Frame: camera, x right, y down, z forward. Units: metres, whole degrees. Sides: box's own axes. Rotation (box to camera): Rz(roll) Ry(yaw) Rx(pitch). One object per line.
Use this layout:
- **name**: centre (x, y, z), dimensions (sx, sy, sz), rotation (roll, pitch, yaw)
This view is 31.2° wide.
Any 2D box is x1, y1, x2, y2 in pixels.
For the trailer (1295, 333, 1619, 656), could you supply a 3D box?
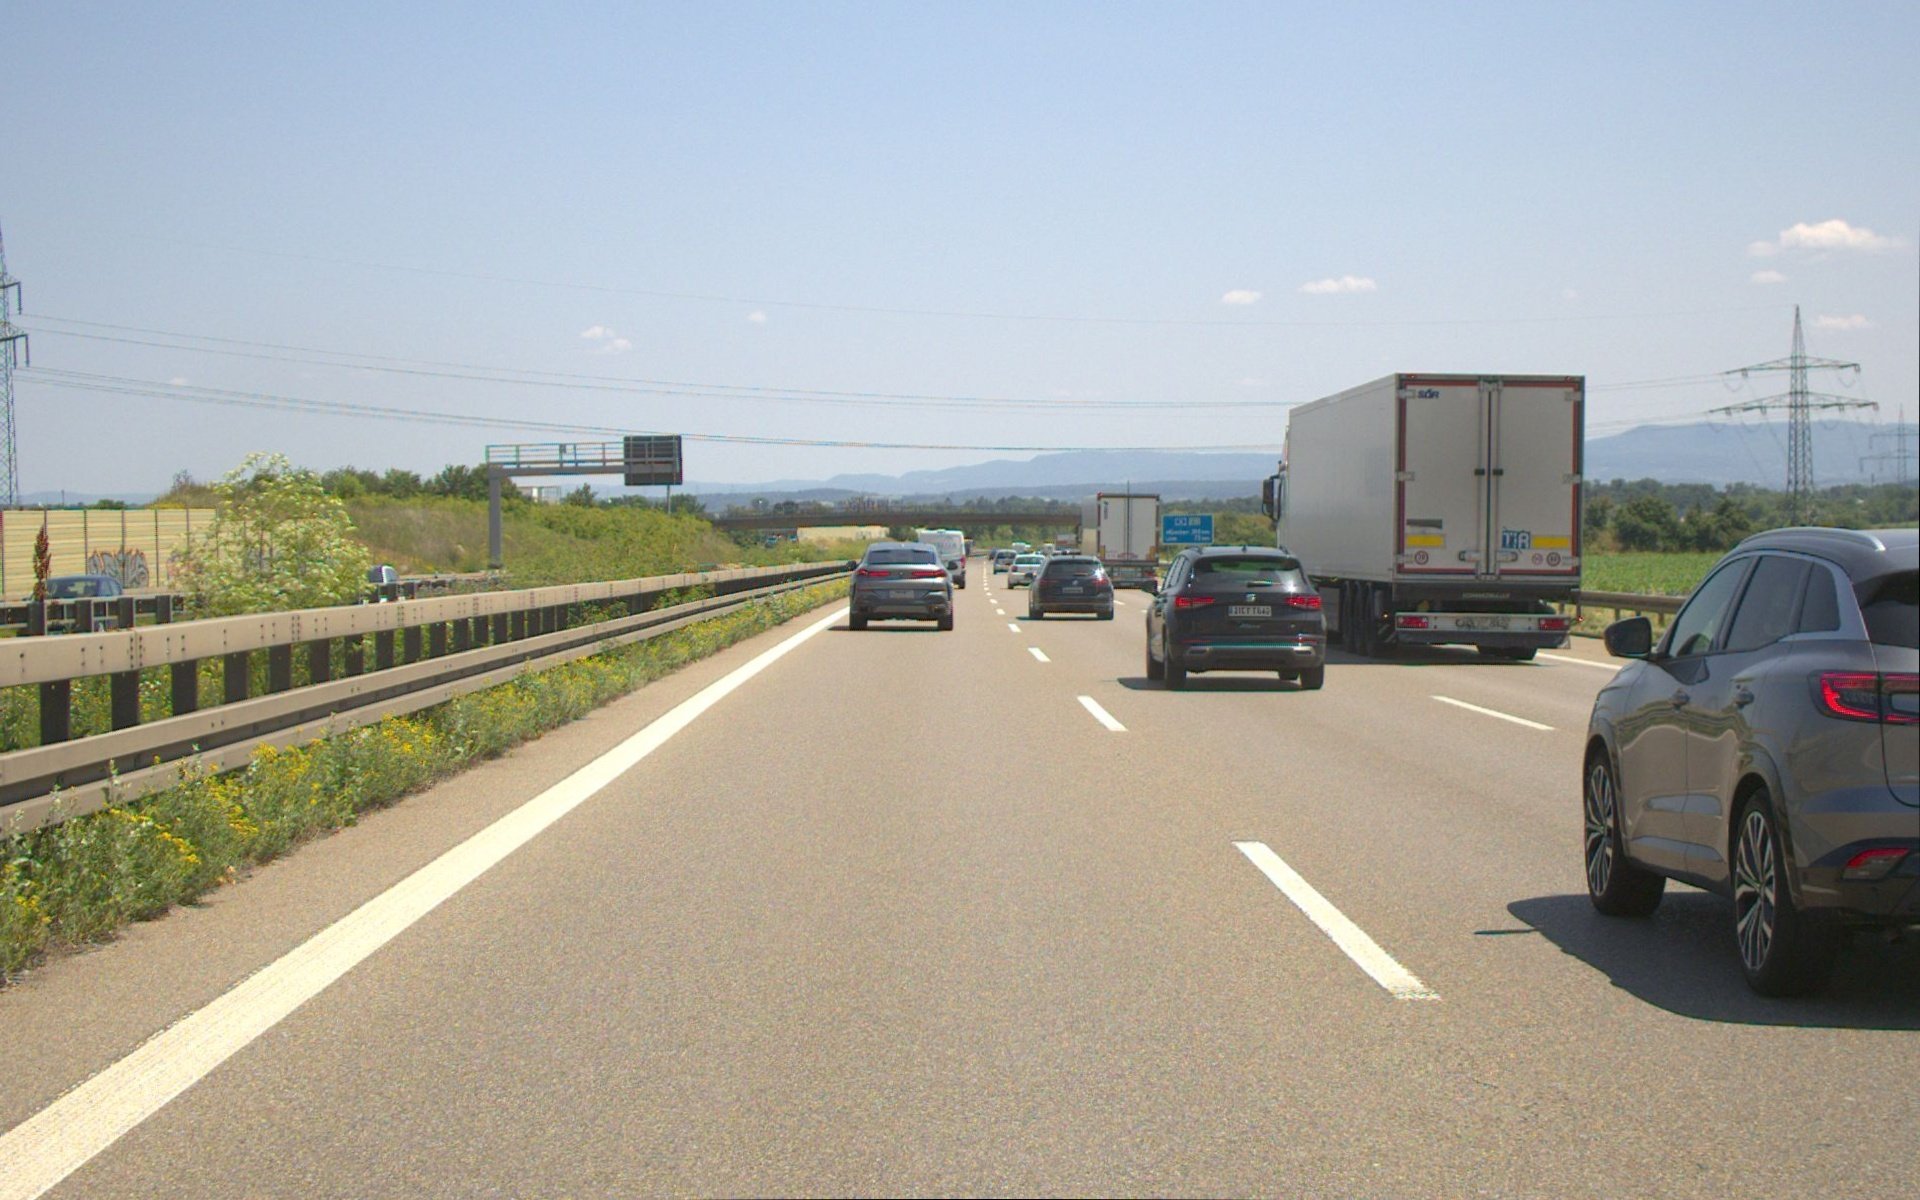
- **trailer**: centre (7.185, -1.463, 51.880), dimensions (2.868, 4.205, 13.295), rotation (1, 1, 0)

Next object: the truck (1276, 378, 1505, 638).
- **truck**: centre (7.148, -1.497, 57.971), dimensions (2.862, 4.077, 6.880), rotation (1, 1, -1)

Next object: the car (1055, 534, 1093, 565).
- **car**: centre (6.259, -2.767, 189.511), dimensions (1.993, 1.677, 4.000), rotation (1, 1, 1)

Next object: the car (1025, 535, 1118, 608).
- **car**: centre (2.494, -0.652, 77.930), dimensions (1.933, 1.569, 4.935), rotation (1, 1, 0)

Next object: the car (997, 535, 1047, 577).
- **car**: centre (2.511, -1.800, 140.312), dimensions (1.993, 1.677, 4.000), rotation (1, 1, 1)

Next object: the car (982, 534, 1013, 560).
- **car**: centre (2.468, -3.477, 225.146), dimensions (1.993, 1.677, 4.000), rotation (1, 1, 1)

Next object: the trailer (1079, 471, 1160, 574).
- **trailer**: centre (6.830, -3.282, 148.889), dimensions (2.943, 4.184, 13.596), rotation (1, 1, 1)

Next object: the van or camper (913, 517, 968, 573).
- **van or camper**: centre (-0.762, -2.209, 139.630), dimensions (2.111, 2.204, 5.265), rotation (1, 1, 1)

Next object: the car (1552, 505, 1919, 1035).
- **car**: centre (3.544, 0.489, 12.975), dimensions (1.851, 1.643, 4.645), rotation (0, 1, 1)

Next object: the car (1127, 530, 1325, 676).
- **car**: centre (2.986, 0.011, 39.282), dimensions (1.796, 1.556, 3.824), rotation (1, 1, -2)

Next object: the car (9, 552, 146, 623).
- **car**: centre (-18.359, -0.274, 71.713), dimensions (1.718, 1.404, 4.485), rotation (1, 1, -1)

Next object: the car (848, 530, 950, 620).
- **car**: centre (-1.205, -0.496, 66.362), dimensions (1.851, 1.658, 3.735), rotation (1, 1, -2)
